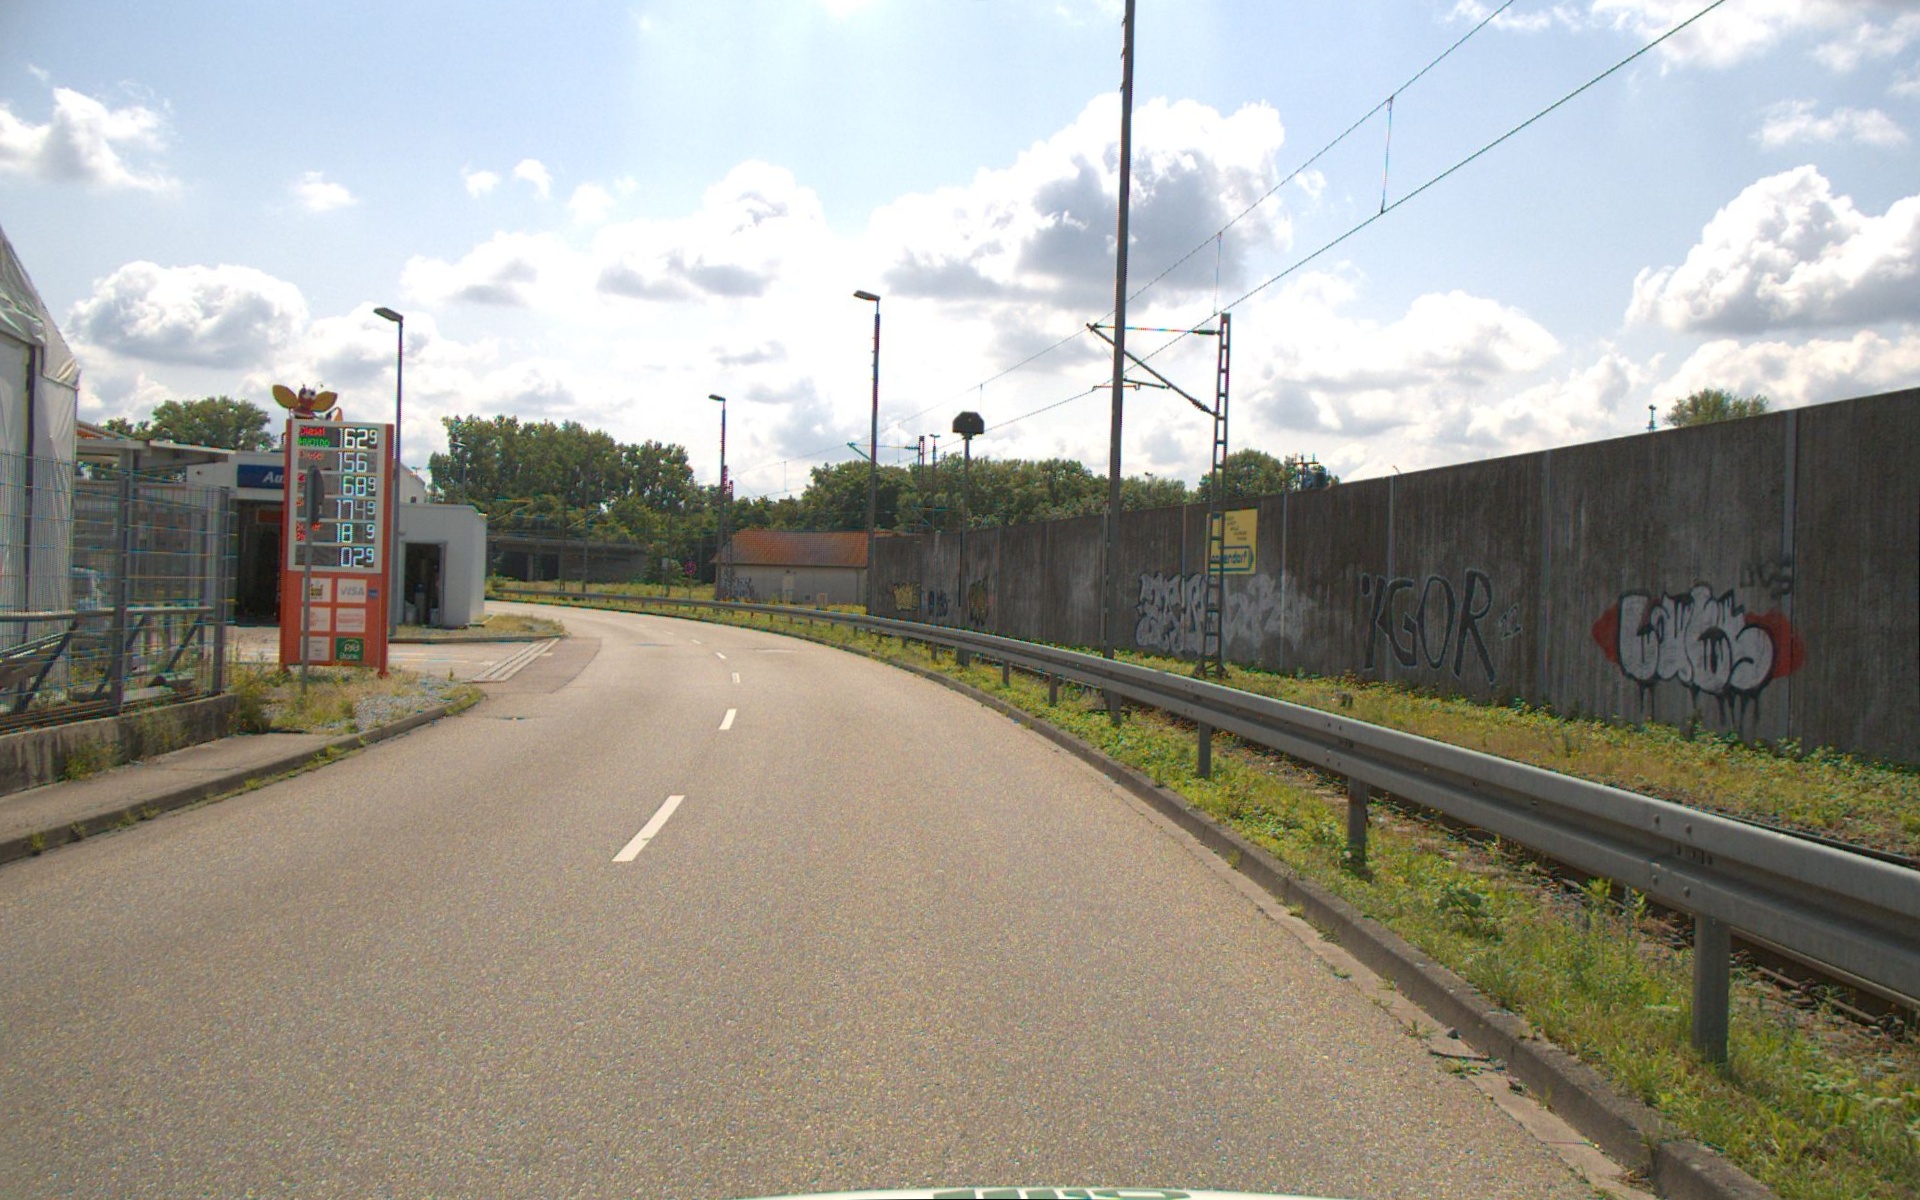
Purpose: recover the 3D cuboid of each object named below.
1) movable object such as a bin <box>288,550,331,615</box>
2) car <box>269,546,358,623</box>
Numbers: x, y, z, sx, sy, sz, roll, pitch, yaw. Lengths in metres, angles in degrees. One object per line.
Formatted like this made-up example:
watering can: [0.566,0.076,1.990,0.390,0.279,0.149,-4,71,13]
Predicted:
movable object such as a bin: [-23.281,-0.599,59.199,1.045,2.190,2.693,2,-2,-15]
car: [-19.340,-0.444,49.685,1.961,2.146,4.988,1,0,-16]
